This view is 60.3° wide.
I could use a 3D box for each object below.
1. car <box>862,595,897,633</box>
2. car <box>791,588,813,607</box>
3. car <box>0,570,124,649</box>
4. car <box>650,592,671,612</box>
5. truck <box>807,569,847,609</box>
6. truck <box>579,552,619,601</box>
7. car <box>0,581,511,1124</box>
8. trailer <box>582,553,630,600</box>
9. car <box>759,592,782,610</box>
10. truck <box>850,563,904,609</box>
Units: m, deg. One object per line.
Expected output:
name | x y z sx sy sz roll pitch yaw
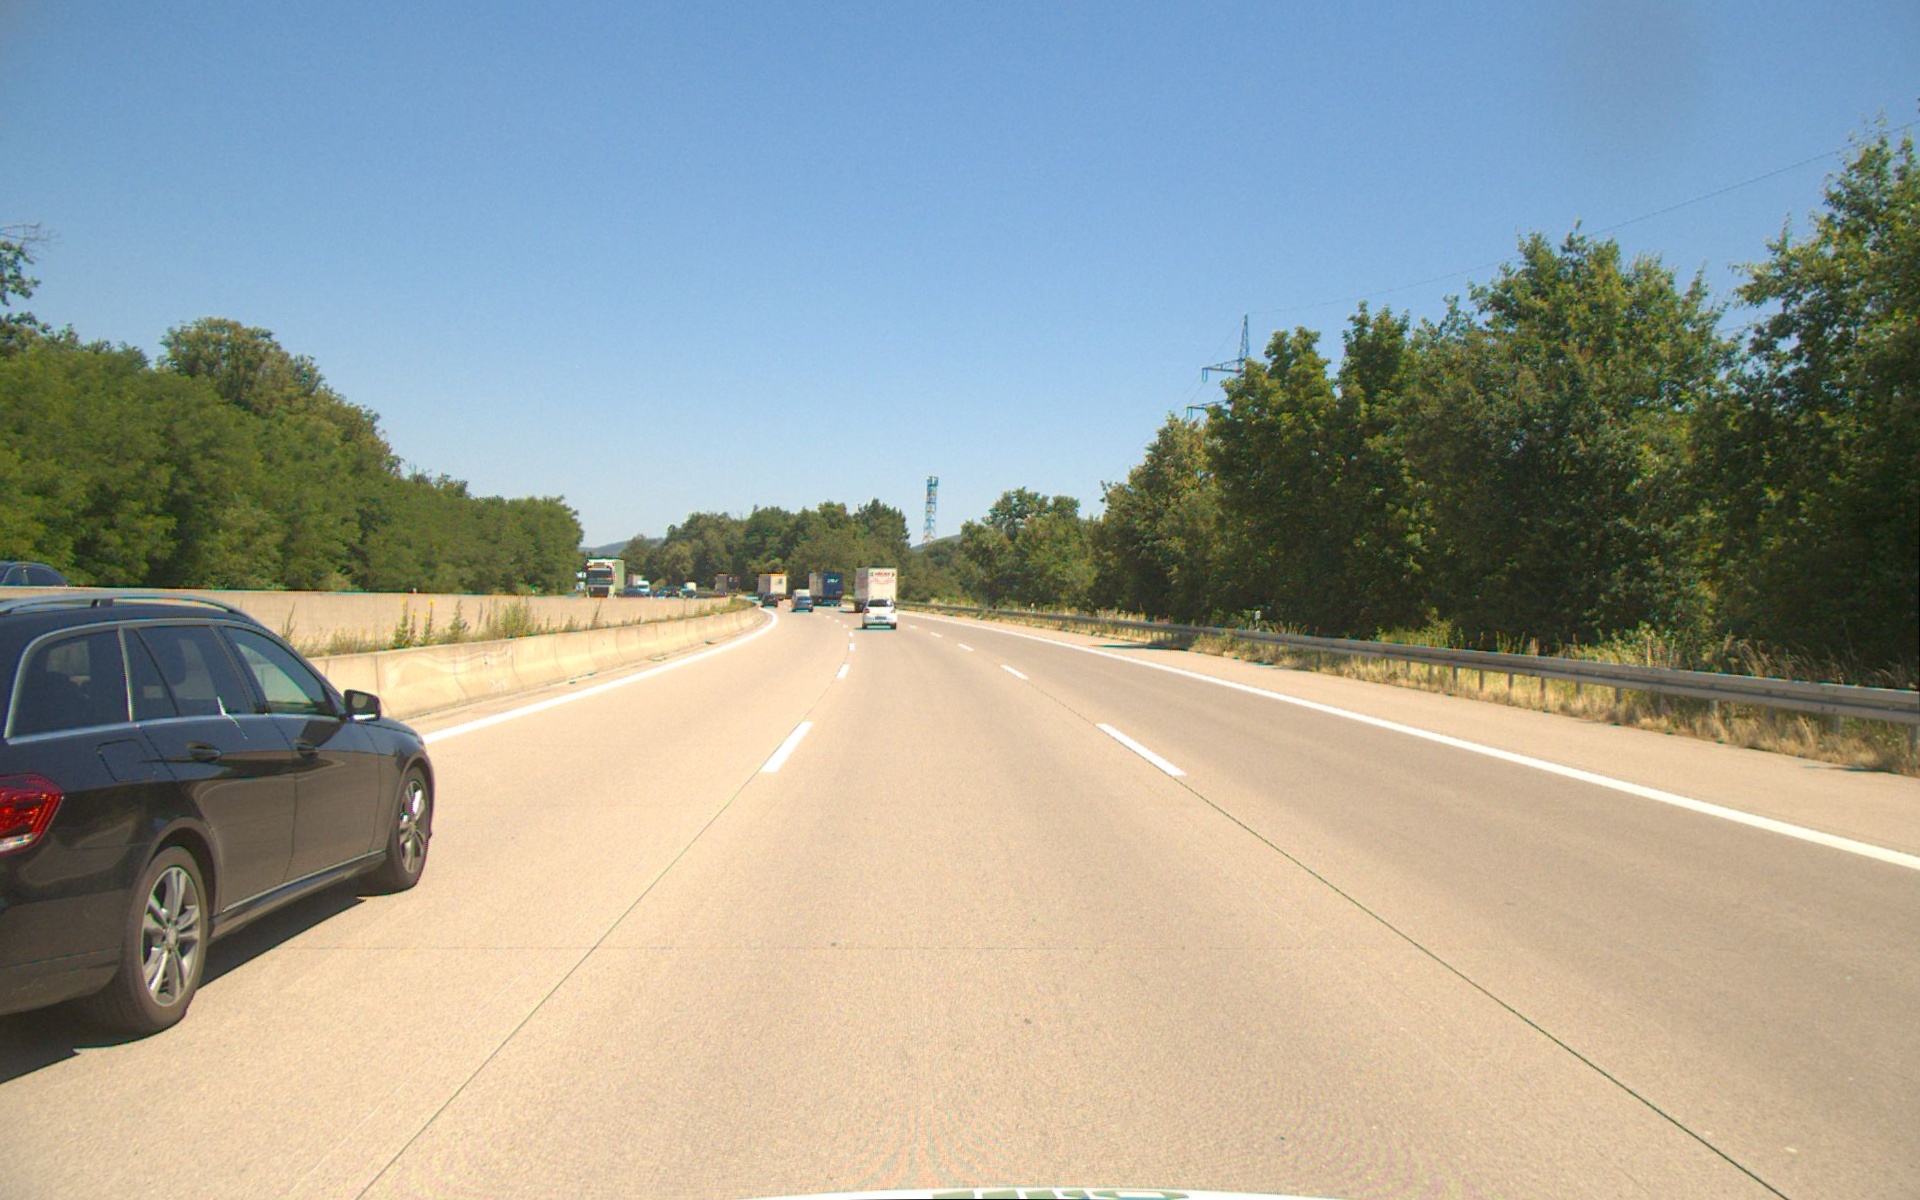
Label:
car | -4.036 0.679 82.784 1.609 1.690 3.358 5 0 -3
car | -14.432 -0.235 150.934 1.581 1.755 3.563 0 0 -12
car | -17.229 0.147 30.724 1.580 1.350 3.640 2 0 -2
car | -31.553 0.218 174.286 1.826 2.049 3.995 2 0 -6
truck | -16.596 -1.336 205.329 3.835 4.824 14.020 0 0 -9
truck | -30.376 -1.923 139.366 2.613 4.004 5.961 0 0 -6
car | -3.596 0.677 7.088 1.852 1.499 5.603 1 0 -1
trailer | -30.994 -1.982 145.287 2.630 4.004 13.229 0 0 -6
car | -21.271 0.154 185.409 1.987 1.729 3.988 6 0 -12
truck | -7.685 -1.210 150.883 3.748 3.957 14.129 0 0 -7
